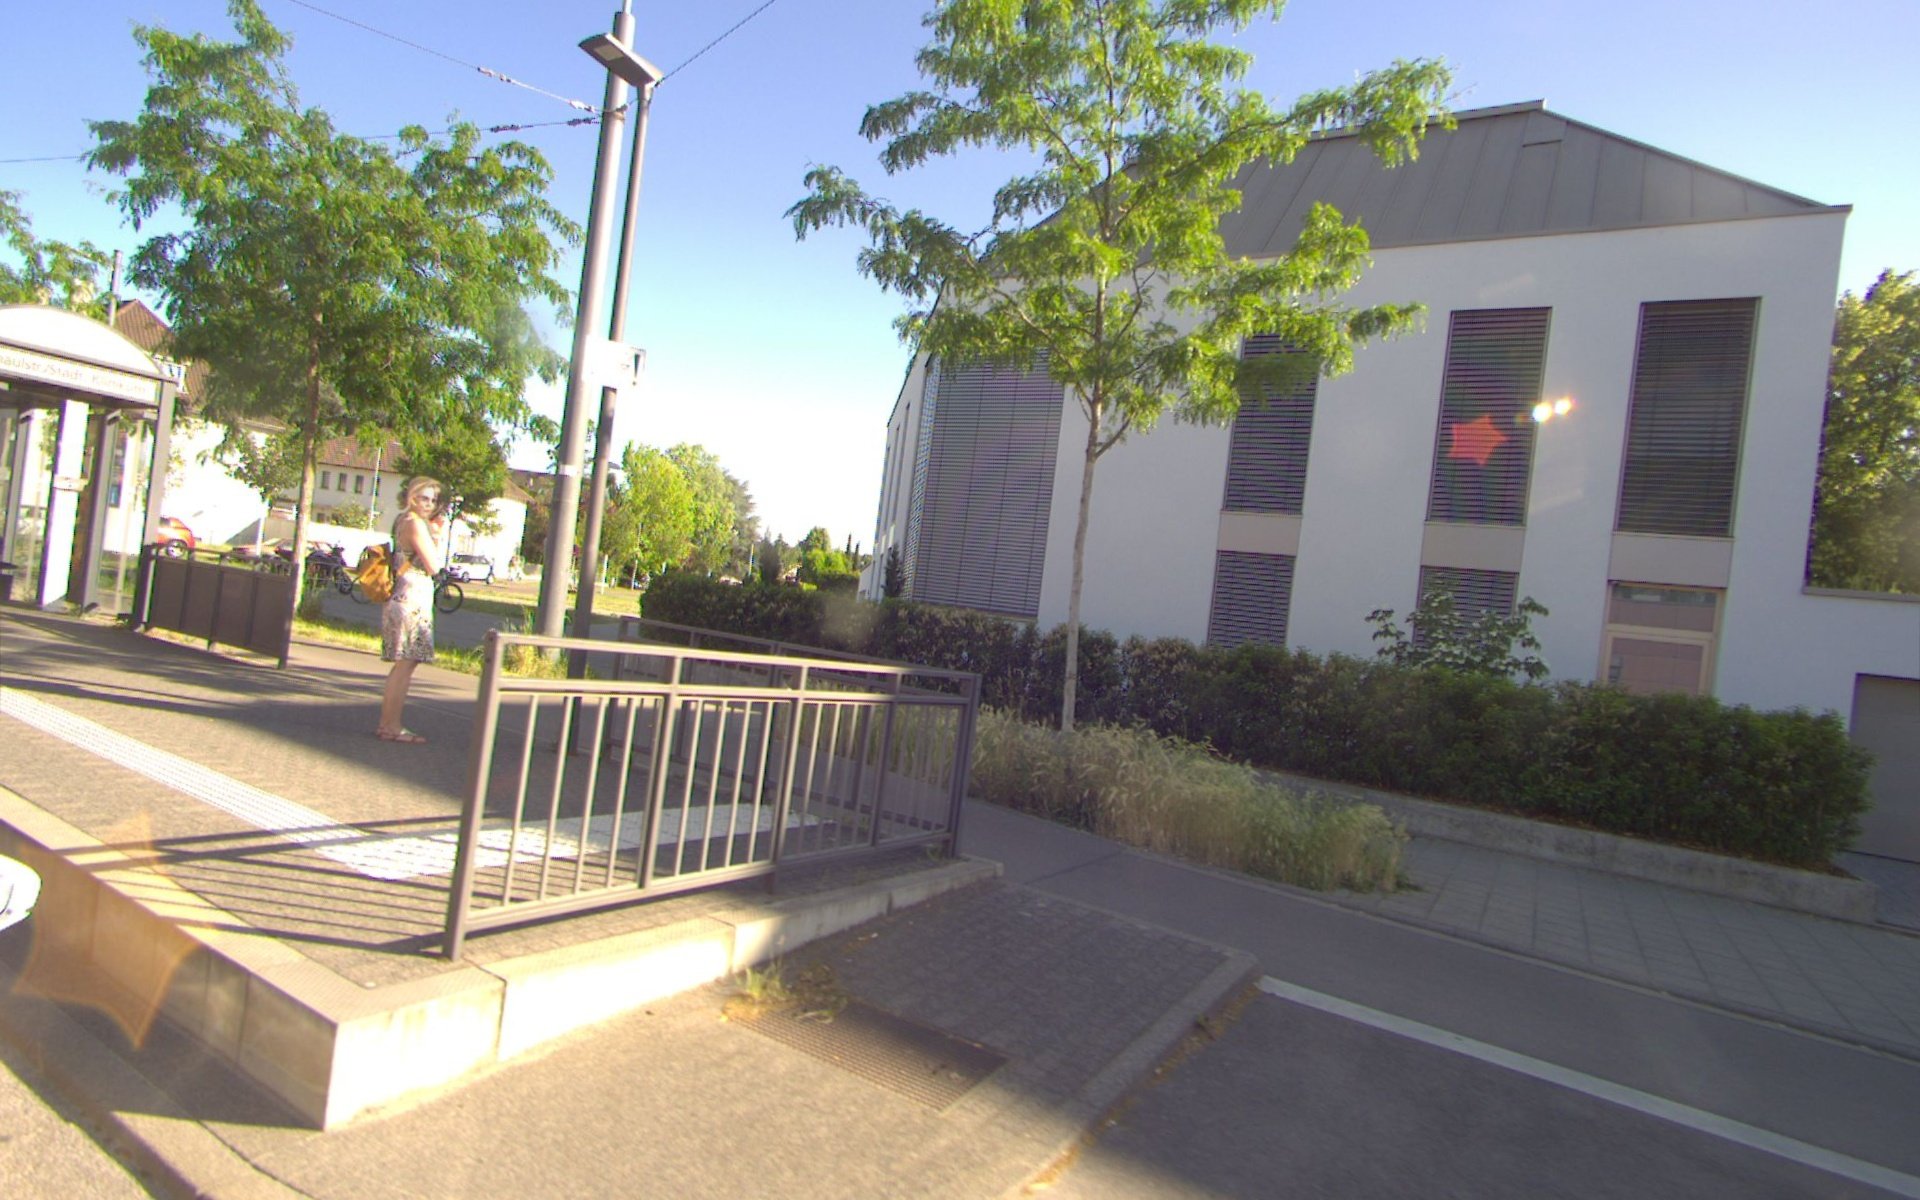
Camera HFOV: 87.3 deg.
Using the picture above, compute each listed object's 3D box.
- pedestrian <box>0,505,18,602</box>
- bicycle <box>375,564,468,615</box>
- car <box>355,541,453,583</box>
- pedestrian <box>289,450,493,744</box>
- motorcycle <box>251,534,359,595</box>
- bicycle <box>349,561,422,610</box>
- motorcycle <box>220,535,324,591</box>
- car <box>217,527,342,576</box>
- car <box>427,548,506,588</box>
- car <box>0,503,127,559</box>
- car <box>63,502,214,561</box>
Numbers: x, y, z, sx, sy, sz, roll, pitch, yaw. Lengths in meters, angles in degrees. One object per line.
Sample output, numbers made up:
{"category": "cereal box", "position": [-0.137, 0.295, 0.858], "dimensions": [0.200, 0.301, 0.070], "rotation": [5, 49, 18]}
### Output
{"category": "pedestrian", "position": [-11.694, -0.610, 11.751], "dimensions": [0.647, 1.130, 0.740], "rotation": [7, -2, 31]}
{"category": "bicycle", "position": [-12.395, -0.225, 23.214], "dimensions": [0.482, 0.990, 1.903], "rotation": [7, -1, 25]}
{"category": "car", "position": [-28.310, -1.921, 51.380], "dimensions": [1.944, 1.525, 4.181], "rotation": [7, -2, 14]}
{"category": "pedestrian", "position": [-3.586, -0.010, 6.368], "dimensions": [0.679, 1.724, 0.673], "rotation": [7, -1, 30]}
{"category": "motorcycle", "position": [-16.581, -0.877, 25.529], "dimensions": [0.846, 1.289, 2.083], "rotation": [7, -1, 25]}
{"category": "bicycle", "position": [-13.622, -0.328, 23.886], "dimensions": [0.408, 0.990, 1.474], "rotation": [7, -1, 25]}
{"category": "motorcycle", "position": [-17.925, -0.949, 26.277], "dimensions": [0.846, 1.171, 2.004], "rotation": [7, -1, 25]}
{"category": "car", "position": [-30.676, -2.157, 45.476], "dimensions": [1.948, 1.525, 4.173], "rotation": [7, -2, 29]}
{"category": "car", "position": [-27.532, -1.758, 56.304], "dimensions": [1.962, 1.591, 4.006], "rotation": [8, -2, 6]}
{"category": "car", "position": [-33.197, -2.543, 36.270], "dimensions": [1.957, 1.483, 4.594], "rotation": [4, -3, 44]}
{"category": "car", "position": [-33.009, -2.721, 40.527], "dimensions": [1.948, 1.661, 4.172], "rotation": [7, -2, 29]}
